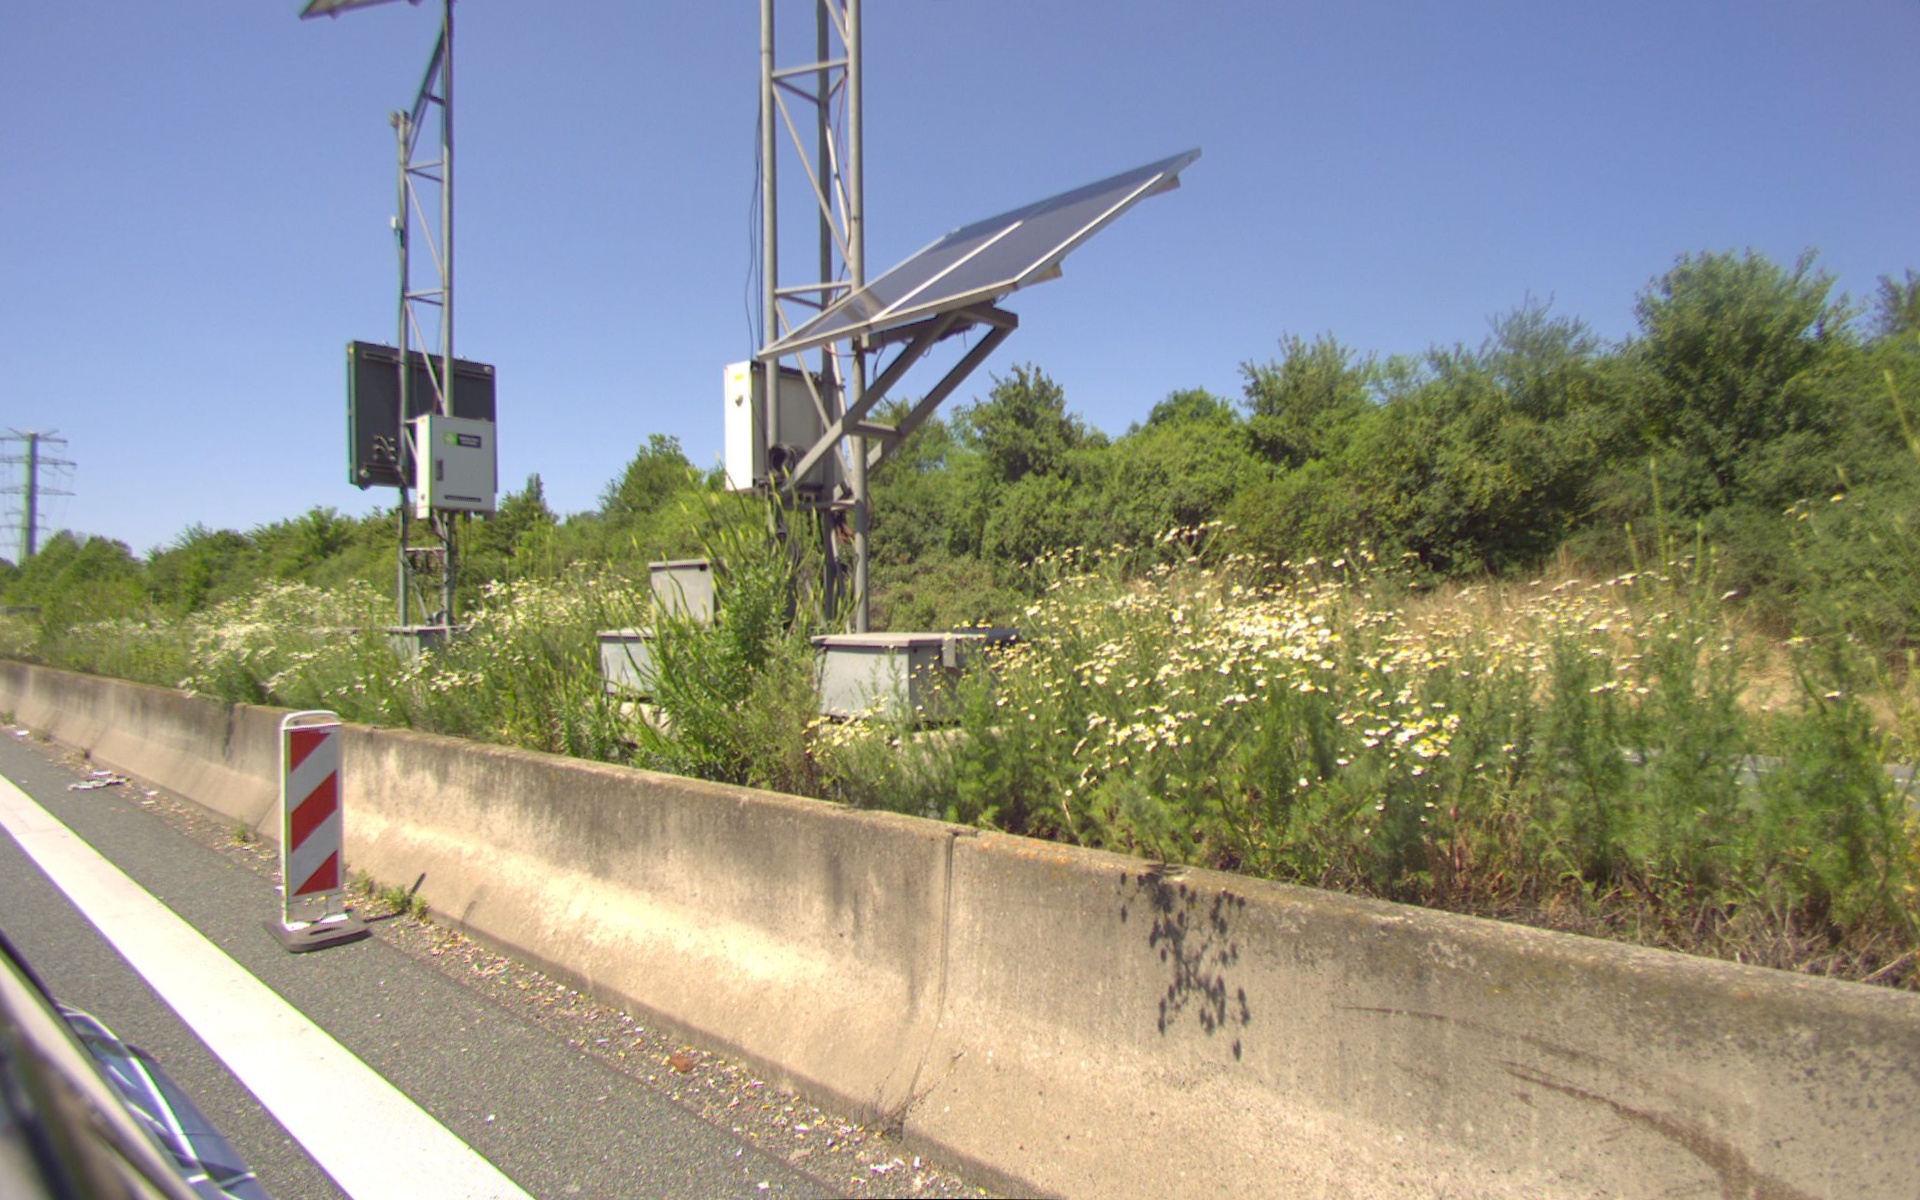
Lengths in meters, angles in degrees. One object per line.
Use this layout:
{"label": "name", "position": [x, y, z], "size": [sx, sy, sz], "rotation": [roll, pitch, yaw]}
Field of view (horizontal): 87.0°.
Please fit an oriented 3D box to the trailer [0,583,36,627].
{"label": "trailer", "position": [-99.430, 0.552, 105.689], "size": [12.900, 4.437, 2.929], "rotation": [-1, 0, 41]}
